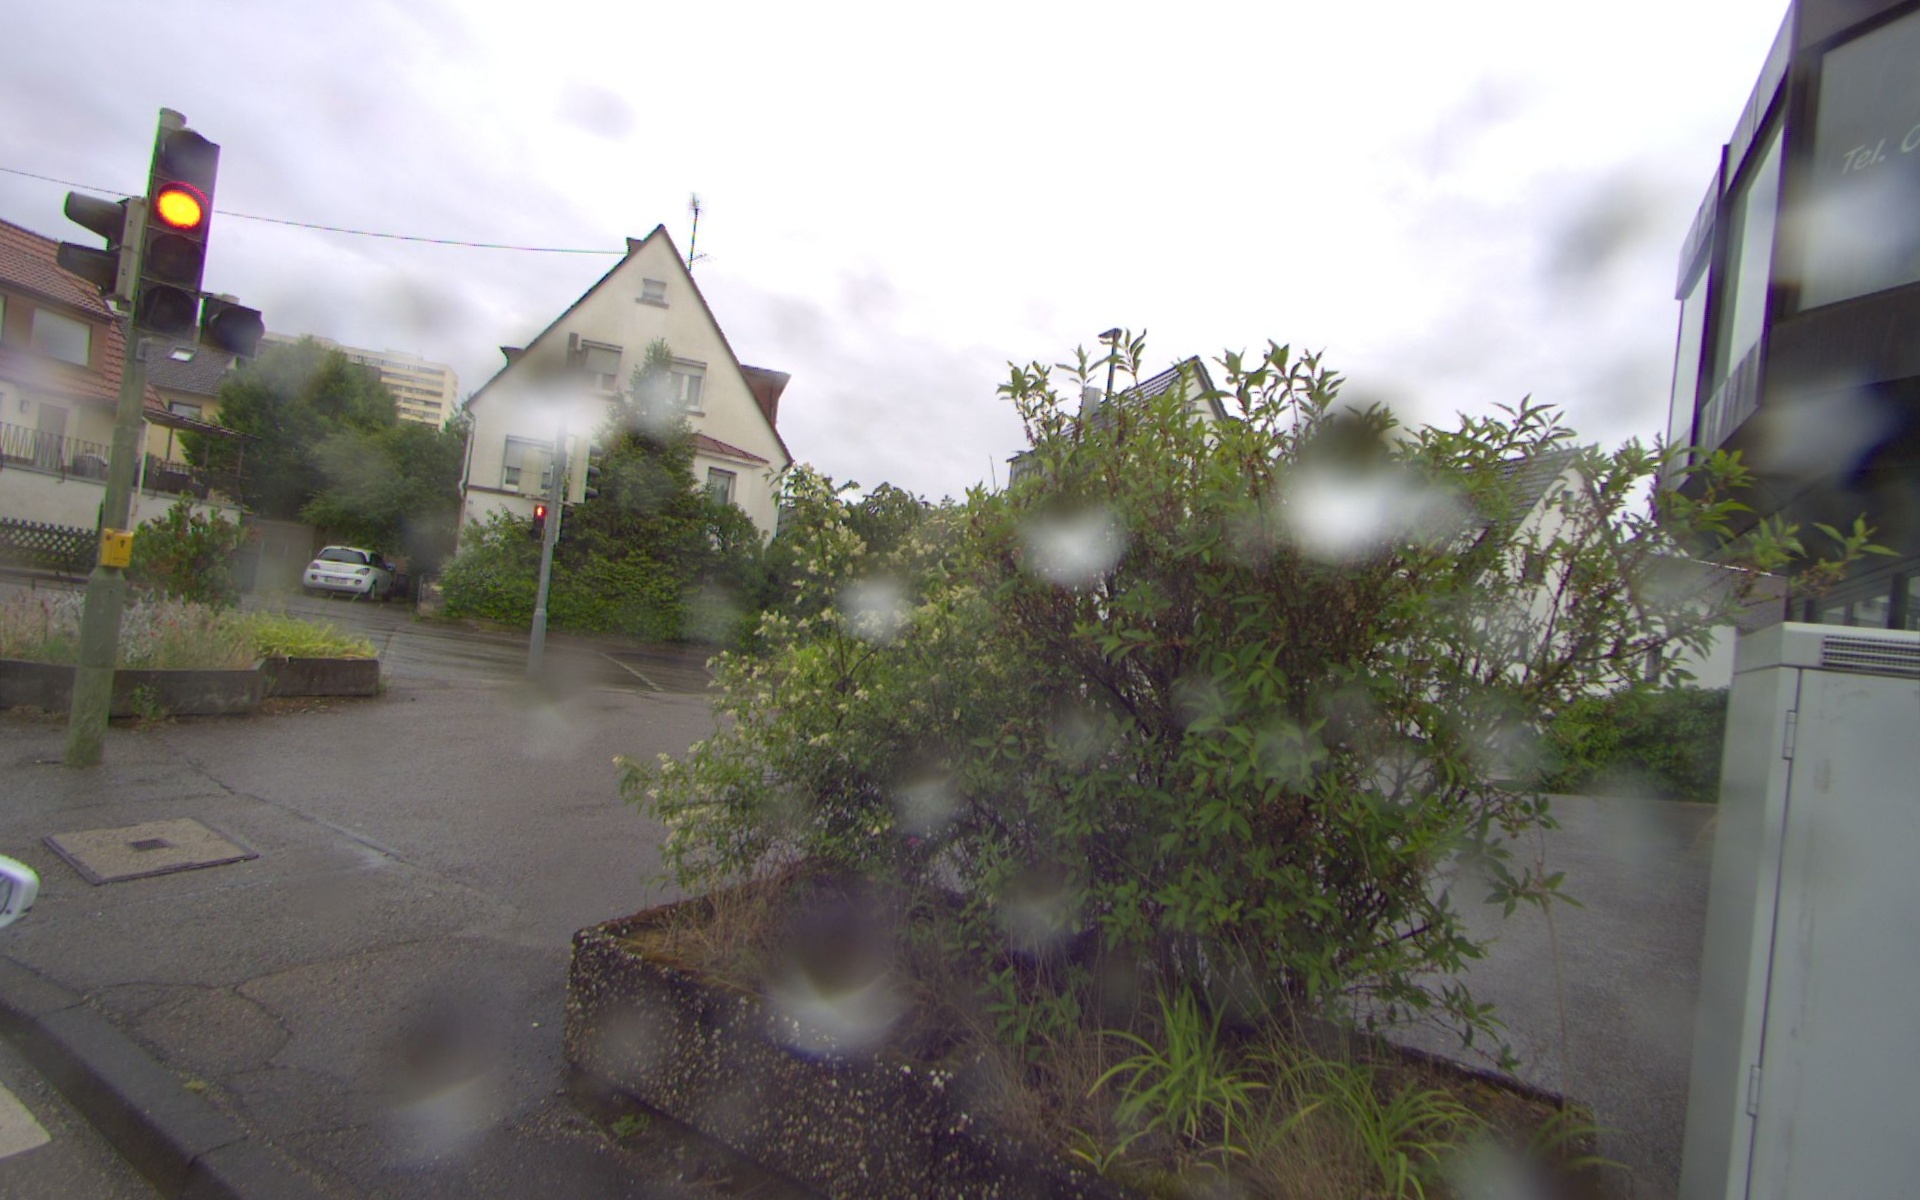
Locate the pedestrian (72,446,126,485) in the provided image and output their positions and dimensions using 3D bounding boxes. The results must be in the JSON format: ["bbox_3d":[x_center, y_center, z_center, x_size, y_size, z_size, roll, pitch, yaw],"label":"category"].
[{"bbox_3d":[-24.275,-3.796,28.373,0.623,0.893,0.920,5,-2,13],"label":"pedestrian"}]

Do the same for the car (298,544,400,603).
[{"bbox_3d":[-17.759,-0.739,29.423,1.794,1.378,3.981,8,-2,-22],"label":"car"}]
